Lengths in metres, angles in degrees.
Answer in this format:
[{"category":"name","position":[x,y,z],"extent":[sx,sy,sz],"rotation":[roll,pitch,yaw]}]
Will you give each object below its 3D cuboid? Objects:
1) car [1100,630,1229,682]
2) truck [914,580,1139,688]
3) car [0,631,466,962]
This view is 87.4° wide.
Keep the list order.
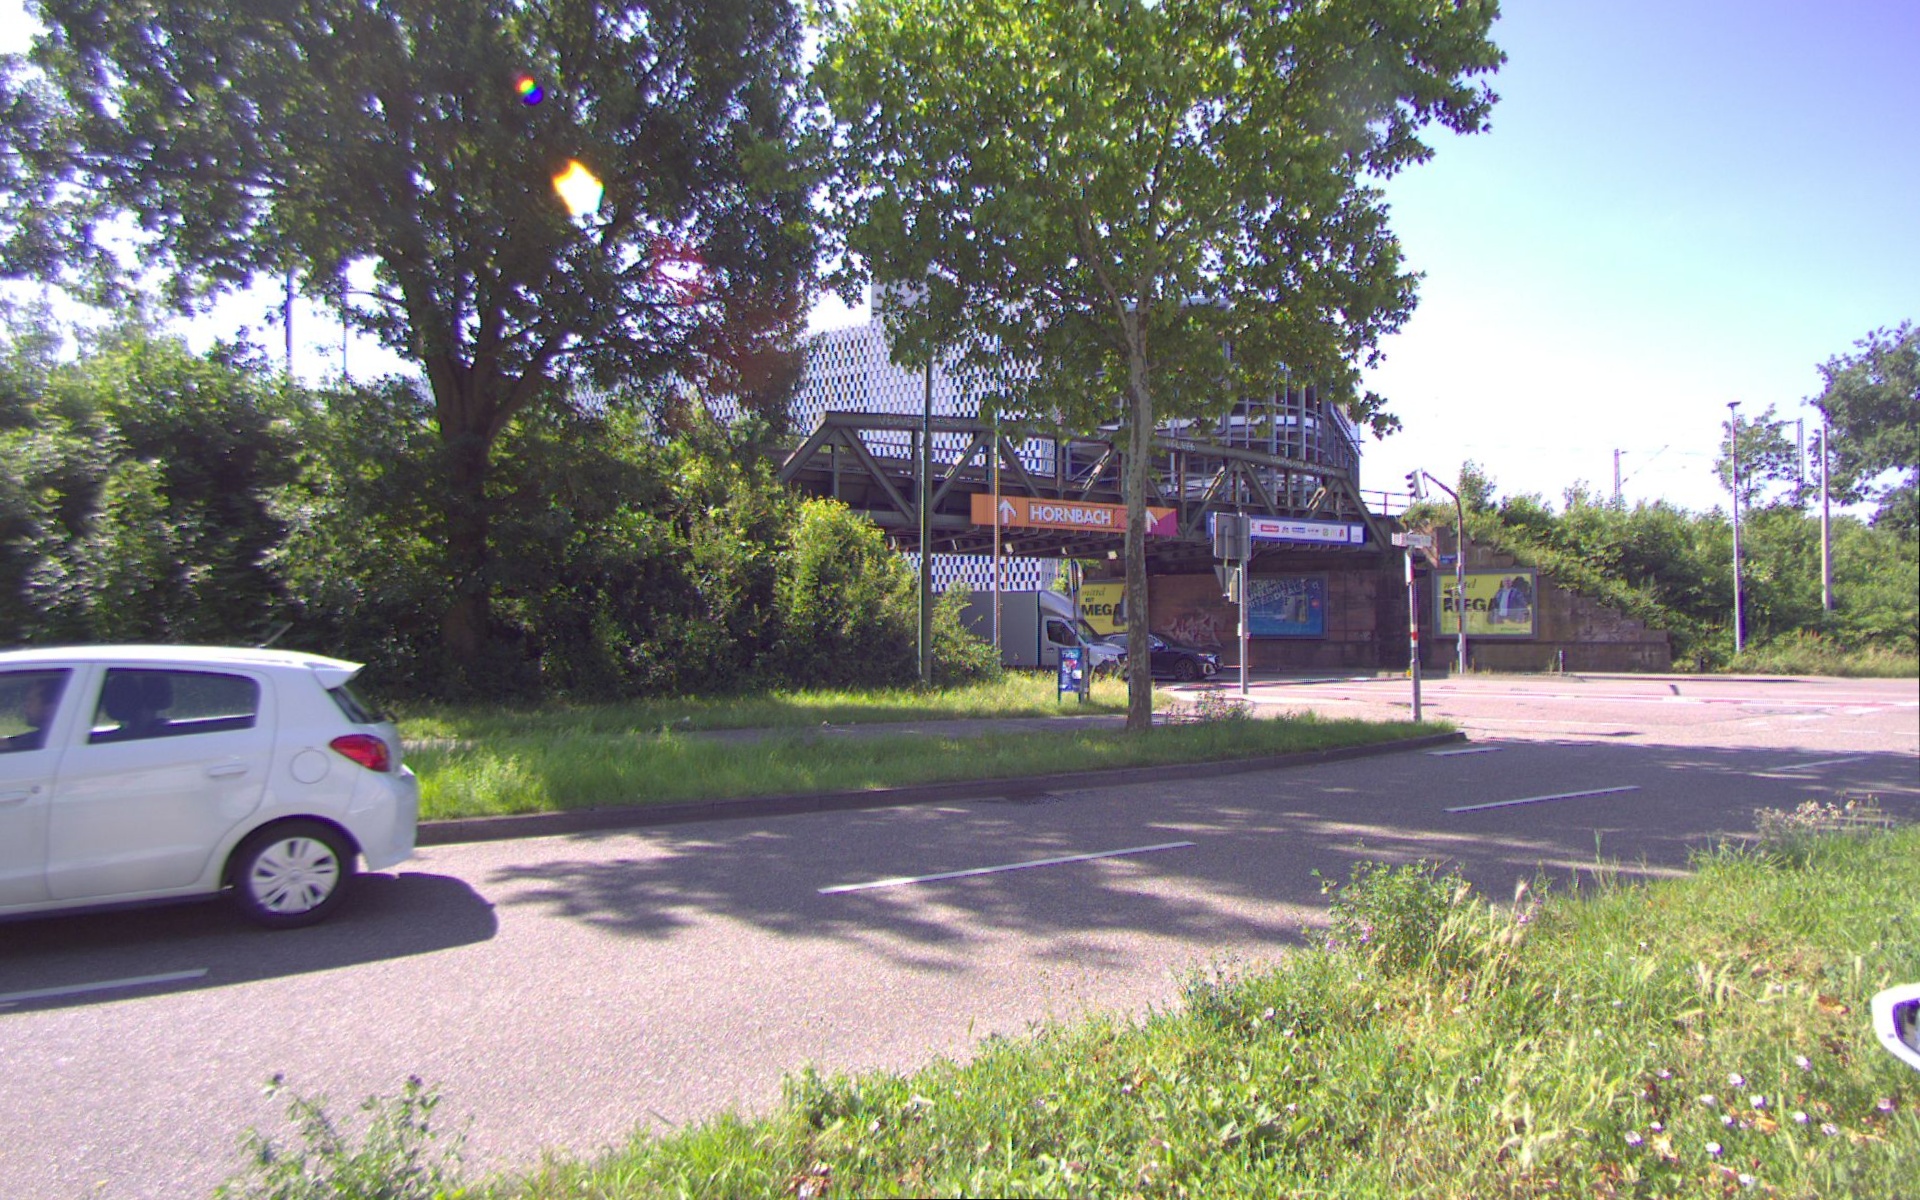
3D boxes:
[{"category":"car","position":[6.960,1.890,34.237],"extent":[3.926,1.668,1.902],"rotation":[-2,-2,27]},{"category":"truck","position":[2.031,1.116,31.741],"extent":[6.739,3.146,2.216],"rotation":[-2,-2,27]},{"category":"car","position":[-4.912,0.938,5.398],"extent":[3.953,1.528,1.692],"rotation":[1,-2,-30]}]
